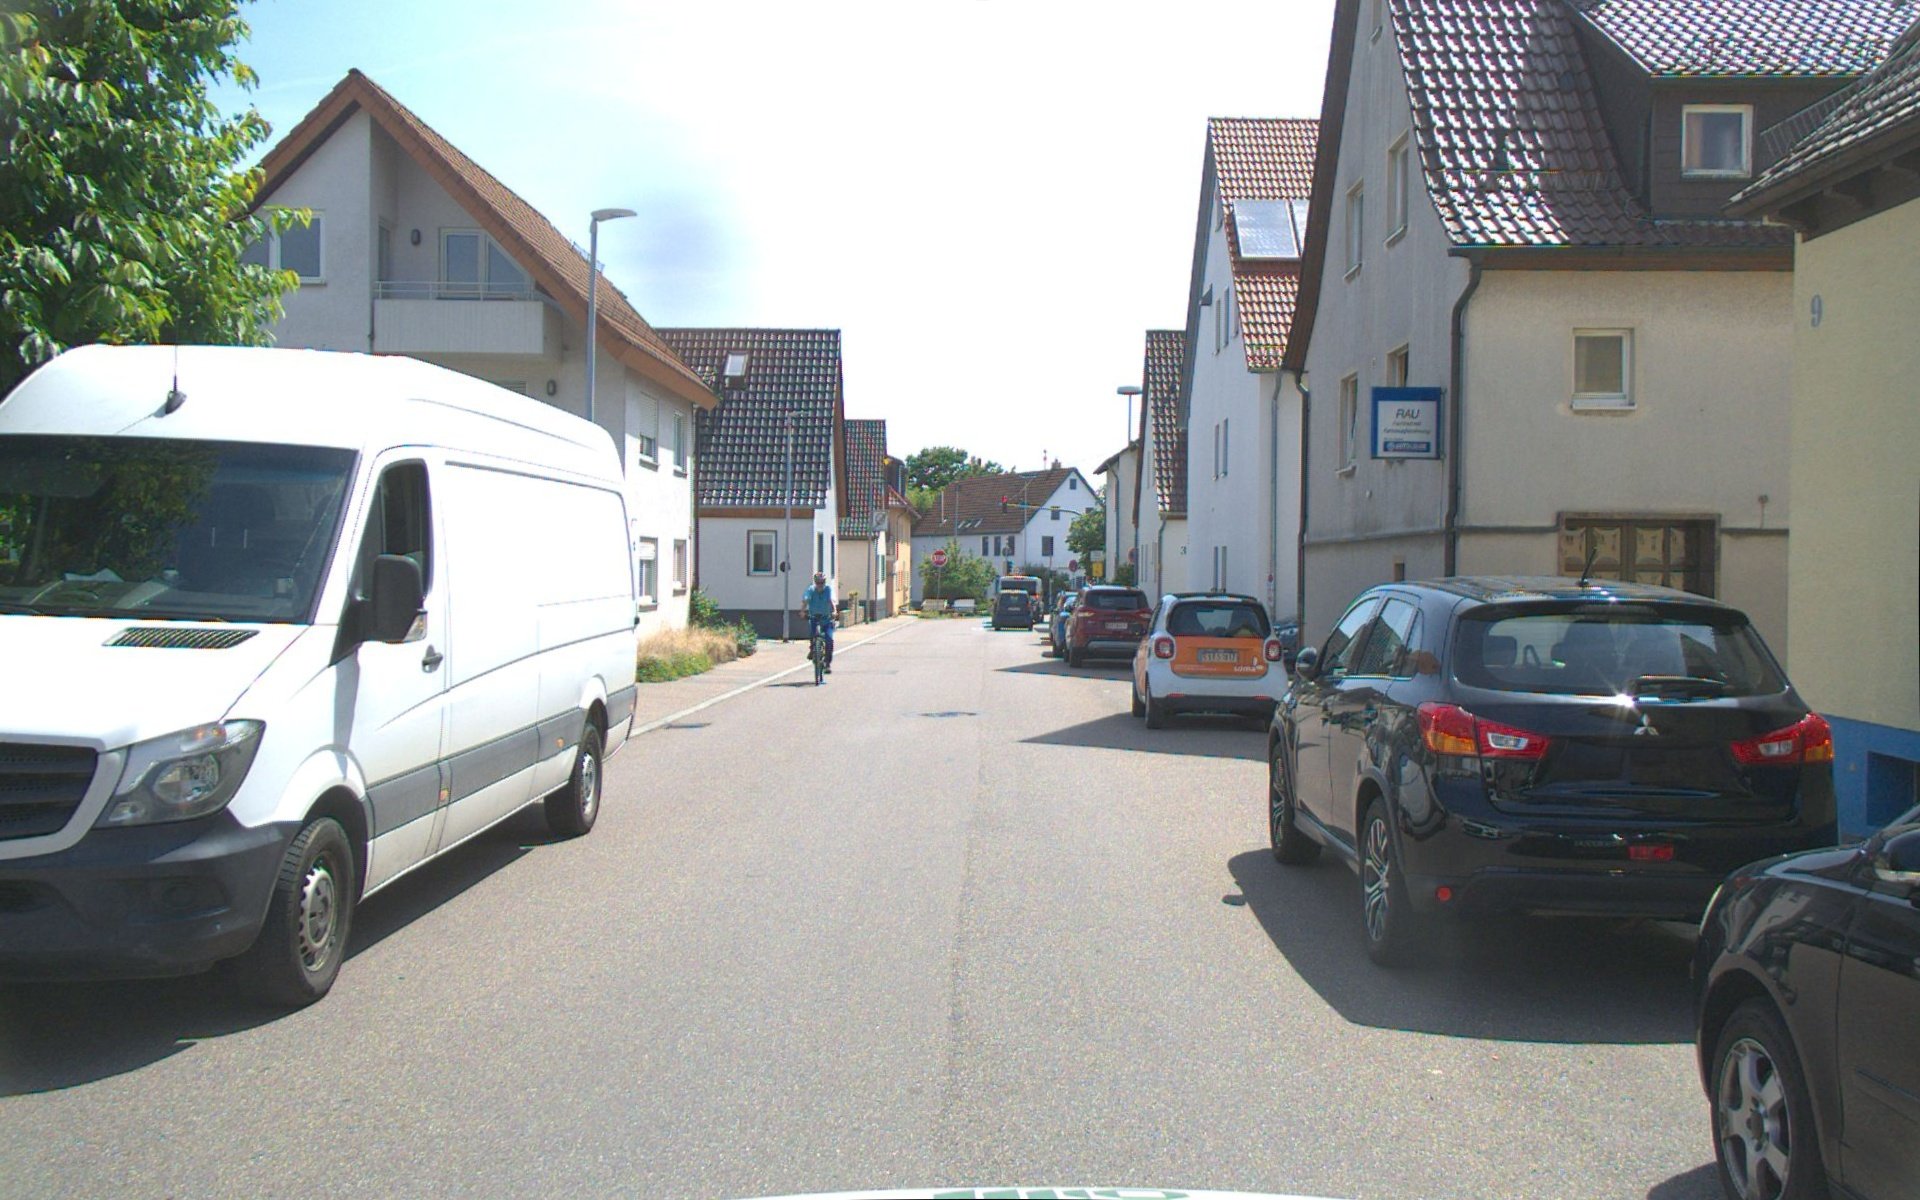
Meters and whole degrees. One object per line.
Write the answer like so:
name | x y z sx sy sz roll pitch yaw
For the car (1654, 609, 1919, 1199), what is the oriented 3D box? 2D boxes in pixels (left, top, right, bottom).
car | 2.646 0.785 2.650 1.577 1.456 3.755 1 0 2

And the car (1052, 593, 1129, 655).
car | 3.207 0.555 41.365 1.726 1.448 4.593 1 0 2

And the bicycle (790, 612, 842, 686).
bicycle | -2.402 0.799 27.796 0.656 1.152 2.189 1 0 0

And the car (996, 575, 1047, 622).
car | 3.037 -0.072 80.486 2.083 2.196 4.740 0 0 7

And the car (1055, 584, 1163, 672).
car | 3.107 0.541 35.227 1.837 1.730 4.182 1 0 -1

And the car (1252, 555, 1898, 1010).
car | 2.631 0.655 8.207 1.693 1.627 4.254 1 0 1

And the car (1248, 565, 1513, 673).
car | 7.802 0.336 30.984 4.424 1.875 1.999 1 0 -2

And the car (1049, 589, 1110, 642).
car | 3.656 0.456 51.176 1.535 1.572 3.448 1 0 -1

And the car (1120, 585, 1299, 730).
car | 2.941 0.634 20.046 1.639 1.586 3.040 1 0 -1

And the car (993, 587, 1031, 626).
car | 2.277 0.263 71.673 1.484 1.653 3.186 0 0 4

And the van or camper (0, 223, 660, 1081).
van or camper | -3.298 0.117 8.485 2.139 2.616 6.808 2 0 1

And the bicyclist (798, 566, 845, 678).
bicyclist | -2.309 0.360 27.714 0.698 1.830 0.942 1 0 -1

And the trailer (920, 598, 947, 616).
trailer | -1.545 0.412 96.206 1.470 0.943 1.012 3 0 2

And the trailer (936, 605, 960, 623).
trailer | -0.697 0.800 94.461 1.283 0.987 0.934 -1 0 2

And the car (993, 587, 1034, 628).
car | 2.149 0.283 66.104 1.484 1.594 3.186 1 0 4
